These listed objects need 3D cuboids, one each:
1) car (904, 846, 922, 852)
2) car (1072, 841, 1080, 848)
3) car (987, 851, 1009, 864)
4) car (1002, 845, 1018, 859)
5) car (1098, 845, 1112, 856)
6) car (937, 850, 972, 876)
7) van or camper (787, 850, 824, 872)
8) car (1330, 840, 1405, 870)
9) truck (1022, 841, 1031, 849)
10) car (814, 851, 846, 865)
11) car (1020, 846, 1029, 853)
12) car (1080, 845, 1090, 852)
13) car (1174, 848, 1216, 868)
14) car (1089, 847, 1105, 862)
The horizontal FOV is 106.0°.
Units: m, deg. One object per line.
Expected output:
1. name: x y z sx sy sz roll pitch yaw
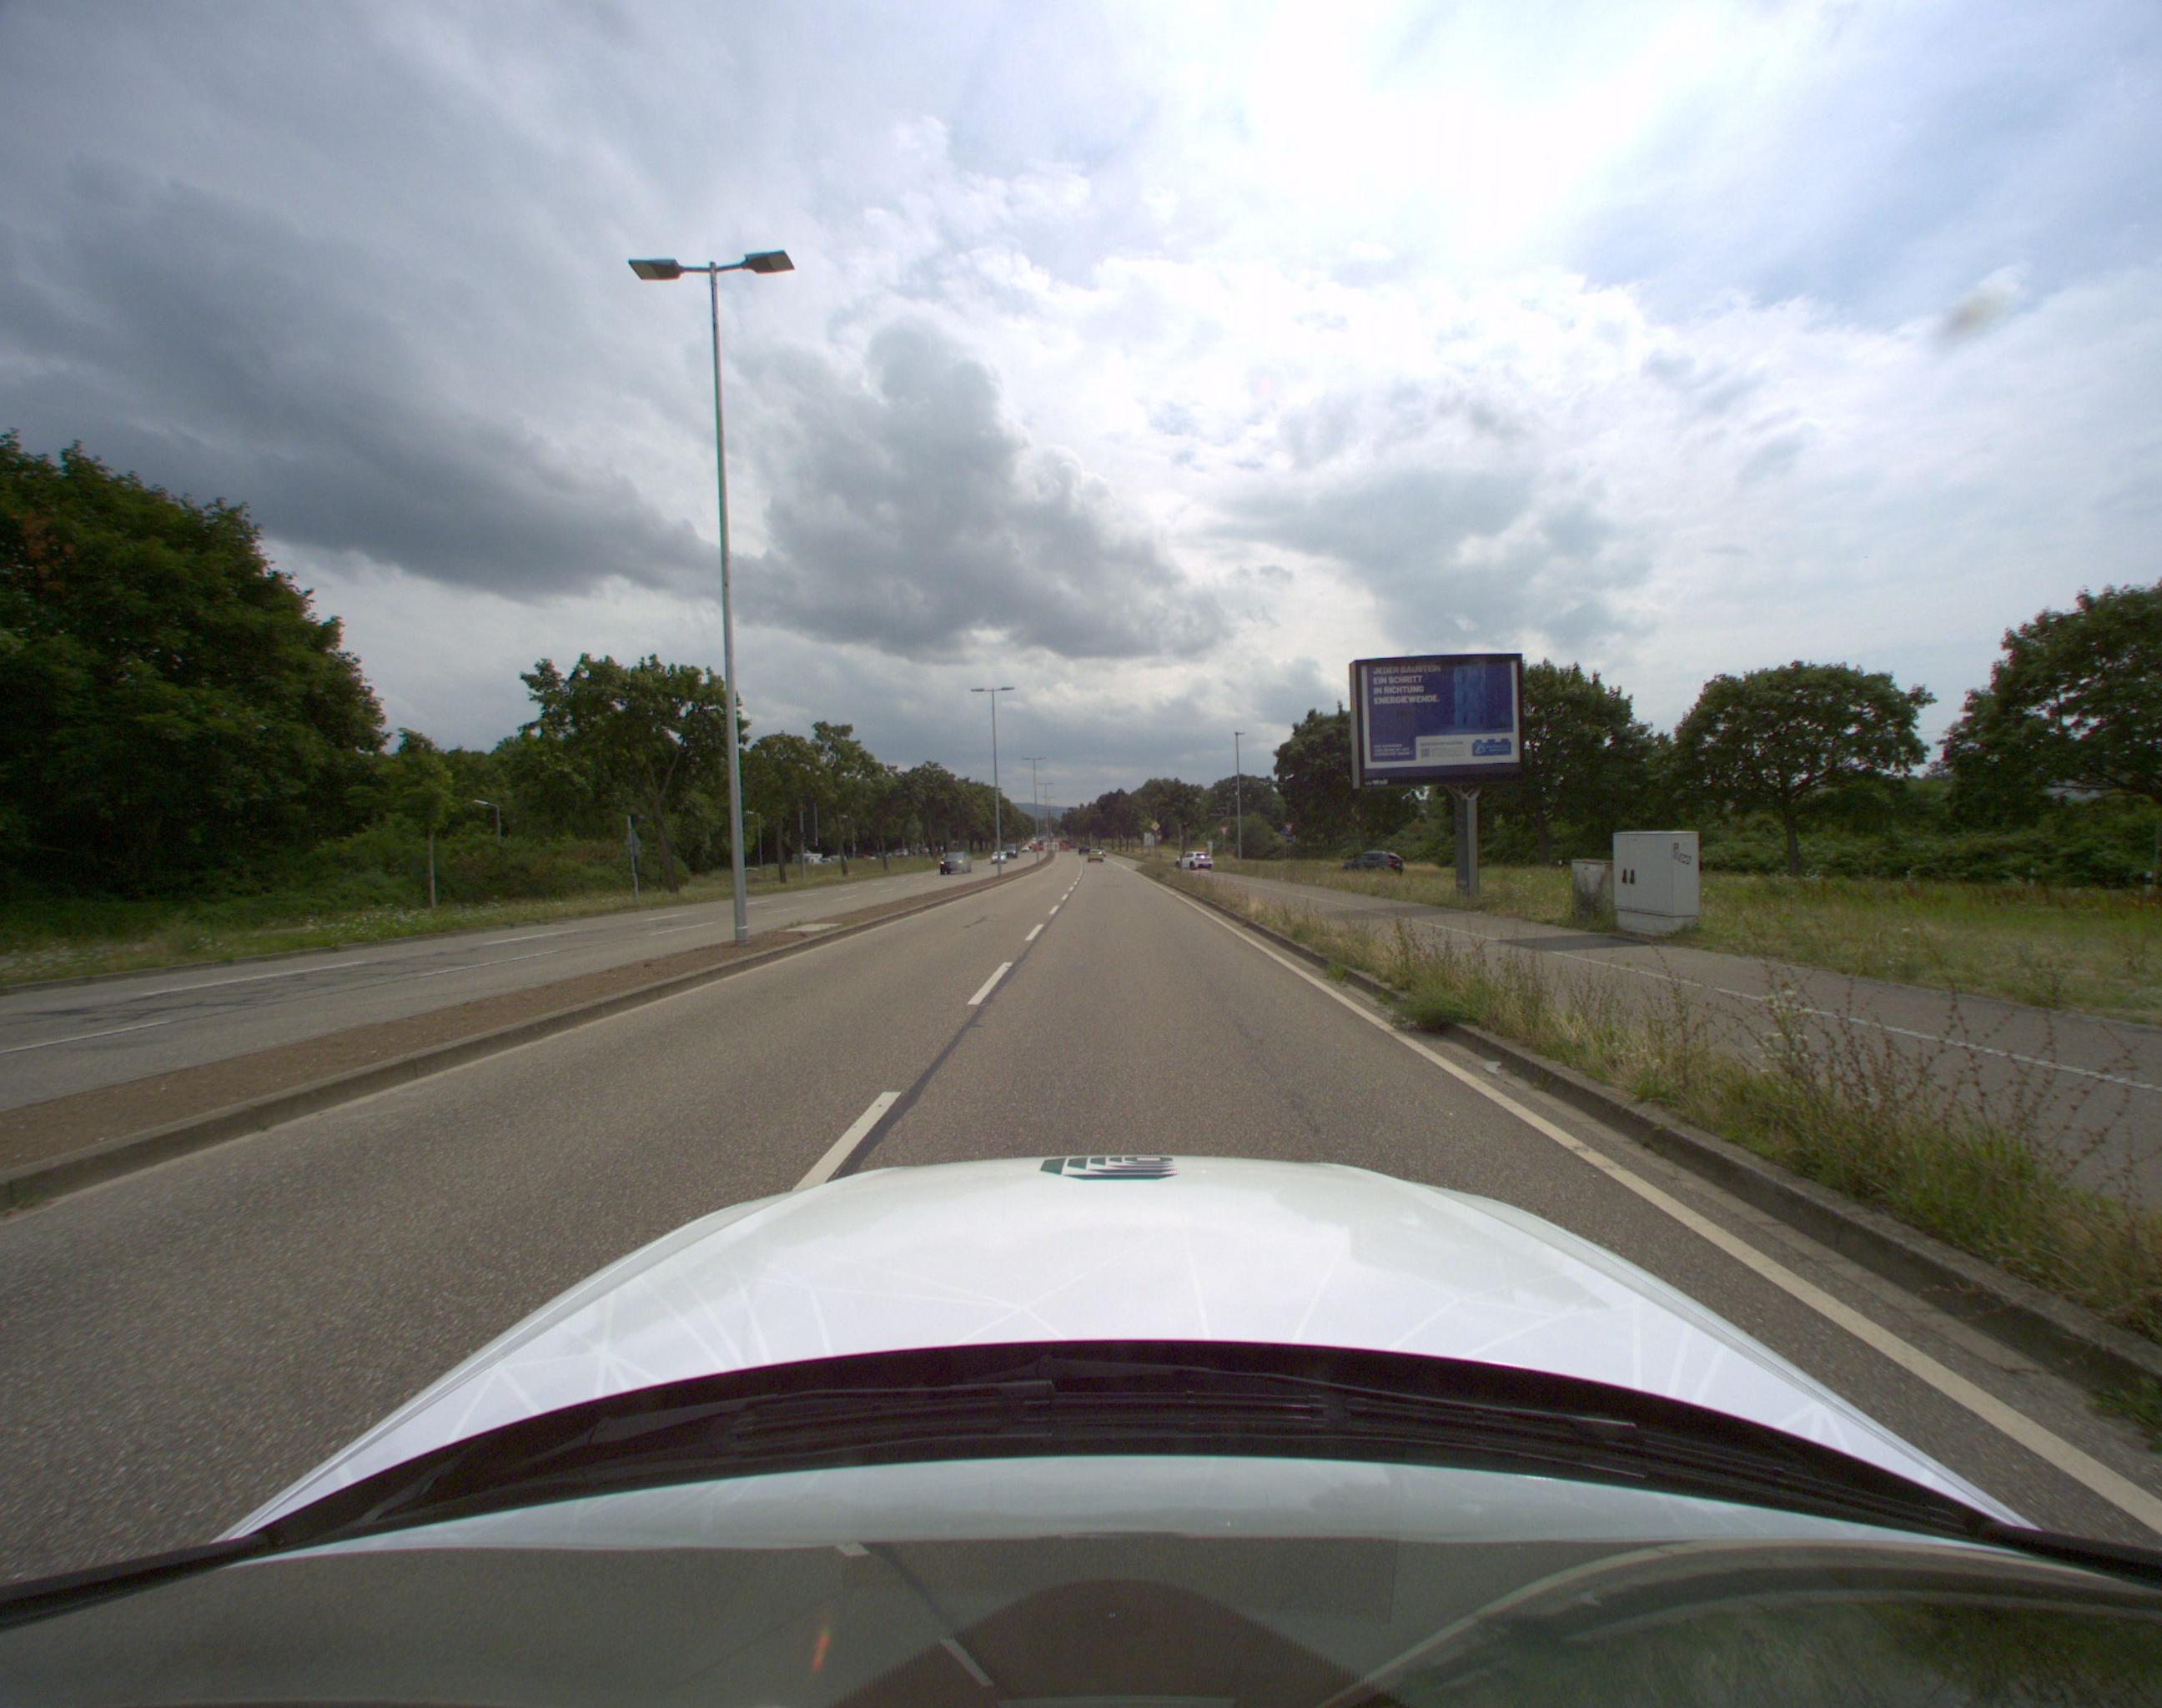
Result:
1. car: -40.415 -1.200 195.842 3.760 1.425 1.966 -1 1 0
2. car: -1.348 -2.519 217.653 2.199 1.683 4.001 -1 1 1
3. car: -10.336 0.387 101.811 1.986 1.430 4.690 -3 1 1
4. car: -11.358 -0.354 130.632 2.089 2.200 6.002 -3 1 -1
5. car: 3.633 -0.548 125.077 2.007 1.670 4.000 -1 1 0
6. car: -10.165 0.673 65.708 1.987 1.811 4.797 -2 1 0
7. van or camper: -35.542 0.888 105.318 2.464 2.540 6.719 -1 1 -1
8. car: 16.949 0.035 48.225 3.949 1.668 1.720 0 1 29
9. truck: -15.073 -2.518 224.426 2.082 1.994 6.037 -3 1 -1
10. car: -36.757 0.548 119.448 3.976 1.887 1.938 -1 1 -2
11. car: -12.838 -1.108 185.989 1.711 1.420 4.159 -3 1 0
12. car: 0.665 -0.985 143.500 1.662 1.269 4.000 -1 1 0
13. car: 9.098 0.264 65.347 1.771 1.464 3.977 -2 2 -17
14. car: 1.815 0.015 94.686 1.788 1.561 4.000 -1 1 0
